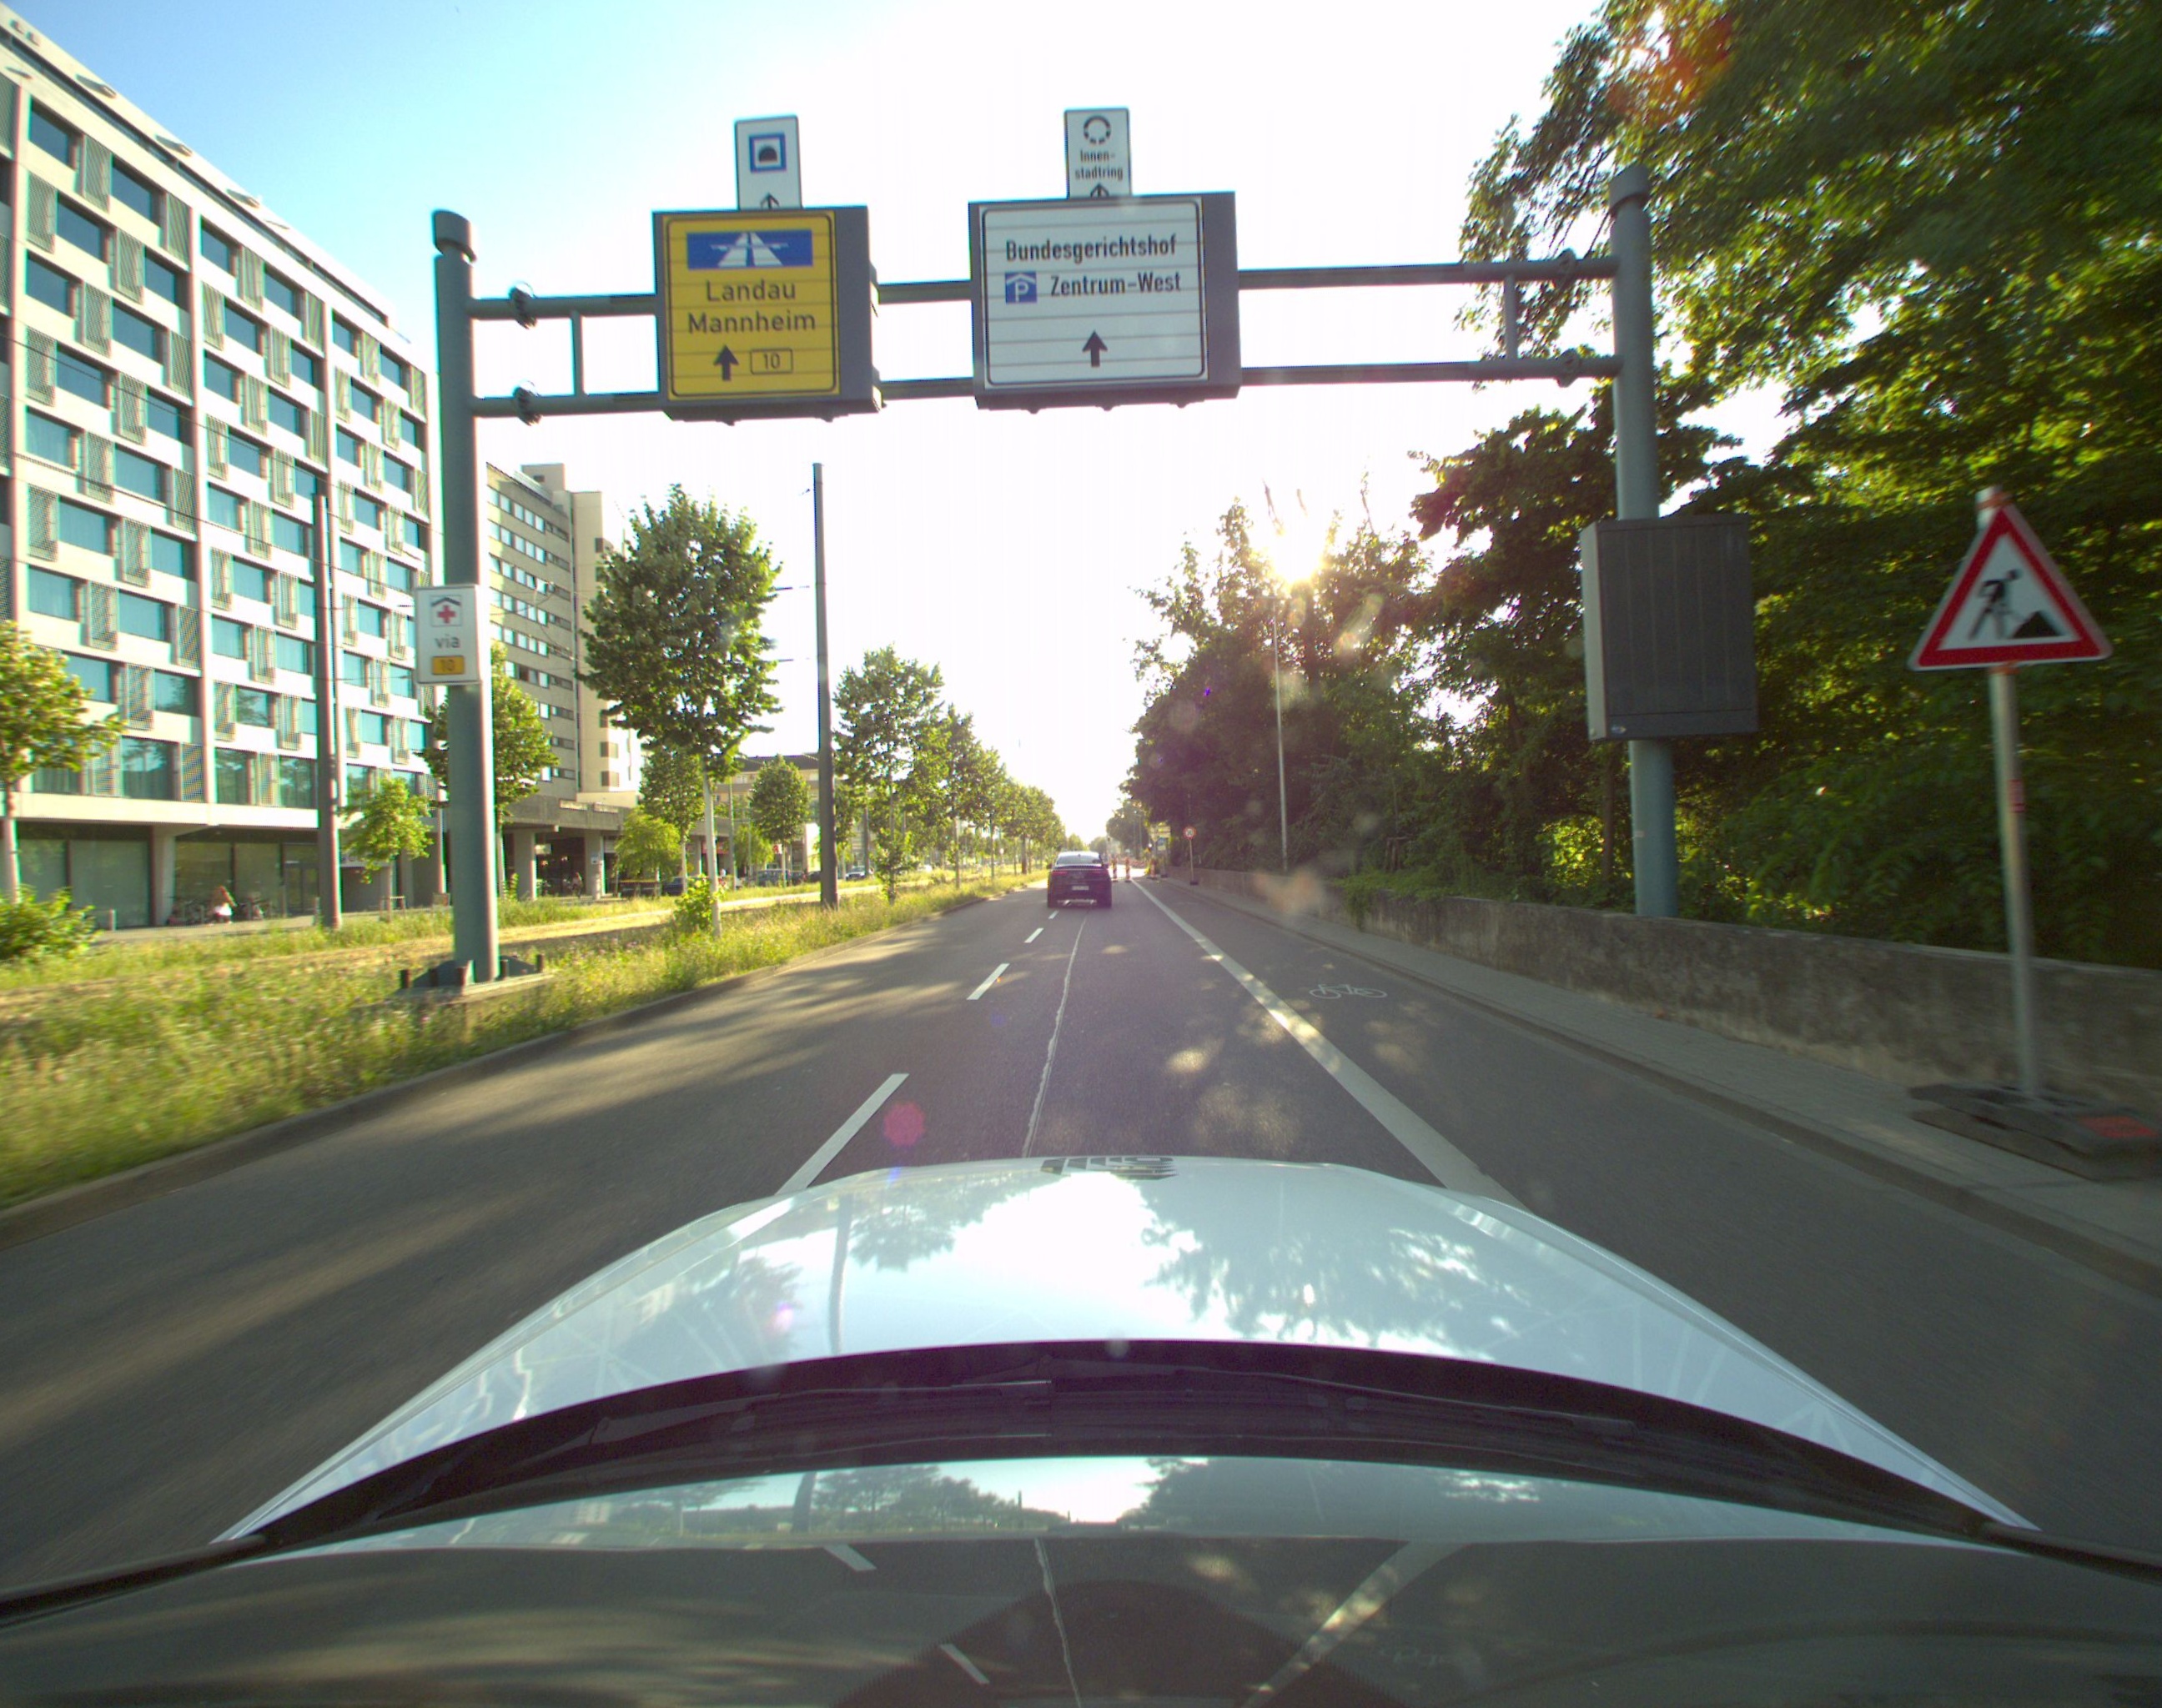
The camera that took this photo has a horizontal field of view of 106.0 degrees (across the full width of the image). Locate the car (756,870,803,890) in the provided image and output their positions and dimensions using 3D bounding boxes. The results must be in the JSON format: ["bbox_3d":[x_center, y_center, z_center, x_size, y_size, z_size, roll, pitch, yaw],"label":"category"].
[{"bbox_3d":[-28.432,2.436,76.800,3.777,1.829,1.804,-1,-1,-39],"label":"car"}]

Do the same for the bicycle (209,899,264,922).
[{"bbox_3d":[-36.960,2.472,35.657,1.799,0.905,0.511,-2,-1,-2],"label":"bicycle"}]

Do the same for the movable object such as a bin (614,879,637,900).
[{"bbox_3d":[-30.218,2.369,54.037,0.851,1.358,0.944,-2,-1,16],"label":"movable object such as a bin"}]

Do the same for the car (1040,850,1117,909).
[{"bbox_3d":[-0.174,0.773,26.359,1.992,1.734,3.989,-1,0,-8],"label":"car"}]

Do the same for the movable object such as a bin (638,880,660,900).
[{"bbox_3d":[-28.824,2.397,54.332,0.851,1.280,0.944,-2,-1,16],"label":"movable object such as a bin"}]

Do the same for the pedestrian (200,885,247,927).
[{"bbox_3d":[-35.376,2.149,33.599,0.840,1.653,0.971,-2,-1,3],"label":"pedestrian"}]

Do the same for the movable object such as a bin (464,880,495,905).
[{"bbox_3d":[-36.635,2.339,49.614,0.797,1.440,1.403,-2,-1,2],"label":"movable object such as a bin"}]

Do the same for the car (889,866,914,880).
[{"bbox_3d":[-22.098,2.322,100.390,1.877,1.514,4.004,-1,0,3],"label":"car"}]

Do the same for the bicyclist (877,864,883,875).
[{"bbox_3d":[-25.696,2.019,104.067,0.590,1.355,0.759,-1,-1,-1],"label":"bicyclist"}]

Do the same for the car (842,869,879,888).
[{"bbox_3d":[-21.108,2.325,78.278,1.877,1.689,5.093,-1,0,3],"label":"car"}]

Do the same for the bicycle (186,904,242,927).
[{"bbox_3d":[-37.105,2.635,34.866,1.799,0.905,0.511,-2,-1,-2],"label":"bicycle"}]

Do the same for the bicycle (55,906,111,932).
[{"bbox_3d":[-36.988,2.405,30.187,1.792,0.905,0.513,-2,-1,11],"label":"bicycle"}]

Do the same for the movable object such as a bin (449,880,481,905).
[{"bbox_3d":[-37.504,2.352,49.631,0.797,1.440,1.403,-2,-1,2],"label":"movable object such as a bin"}]

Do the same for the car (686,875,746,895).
[{"bbox_3d":[-29.558,2.483,66.015,1.764,1.453,4.024,-1,-1,43],"label":"car"}]

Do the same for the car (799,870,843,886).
[{"bbox_3d":[-27.759,2.554,87.014,4.021,1.563,1.976,-1,-1,-40],"label":"car"}]

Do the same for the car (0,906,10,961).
[{"bbox_3d":[-30.277,2.170,20.326,1.877,1.492,3.876,-1,0,3],"label":"car"}]

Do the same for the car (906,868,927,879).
[{"bbox_3d":[-23.615,2.756,116.919,1.877,1.514,4.004,-1,0,3],"label":"car"}]

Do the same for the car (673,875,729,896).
[{"bbox_3d":[-29.443,2.397,63.156,3.644,1.523,1.602,1,-1,-39],"label":"car"}]

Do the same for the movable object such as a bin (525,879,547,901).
[{"bbox_3d":[-36.196,2.379,54.047,0.818,1.371,0.868,-2,-1,2],"label":"movable object such as a bin"}]

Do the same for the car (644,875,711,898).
[{"bbox_3d":[-29.538,2.356,59.654,4.116,1.601,1.730,1,0,-39],"label":"car"}]

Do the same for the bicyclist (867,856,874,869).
[{"bbox_3d":[-24.934,1.042,96.456,0.549,1.544,0.682,-1,-1,2],"label":"bicyclist"}]

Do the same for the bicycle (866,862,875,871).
[{"bbox_3d":[-24.929,1.449,96.386,0.552,1.040,1.792,-1,0,3],"label":"bicycle"}]

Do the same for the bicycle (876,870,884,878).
[{"bbox_3d":[-25.695,2.537,104.355,0.605,0.963,1.716,-1,0,-1],"label":"bicycle"}]
